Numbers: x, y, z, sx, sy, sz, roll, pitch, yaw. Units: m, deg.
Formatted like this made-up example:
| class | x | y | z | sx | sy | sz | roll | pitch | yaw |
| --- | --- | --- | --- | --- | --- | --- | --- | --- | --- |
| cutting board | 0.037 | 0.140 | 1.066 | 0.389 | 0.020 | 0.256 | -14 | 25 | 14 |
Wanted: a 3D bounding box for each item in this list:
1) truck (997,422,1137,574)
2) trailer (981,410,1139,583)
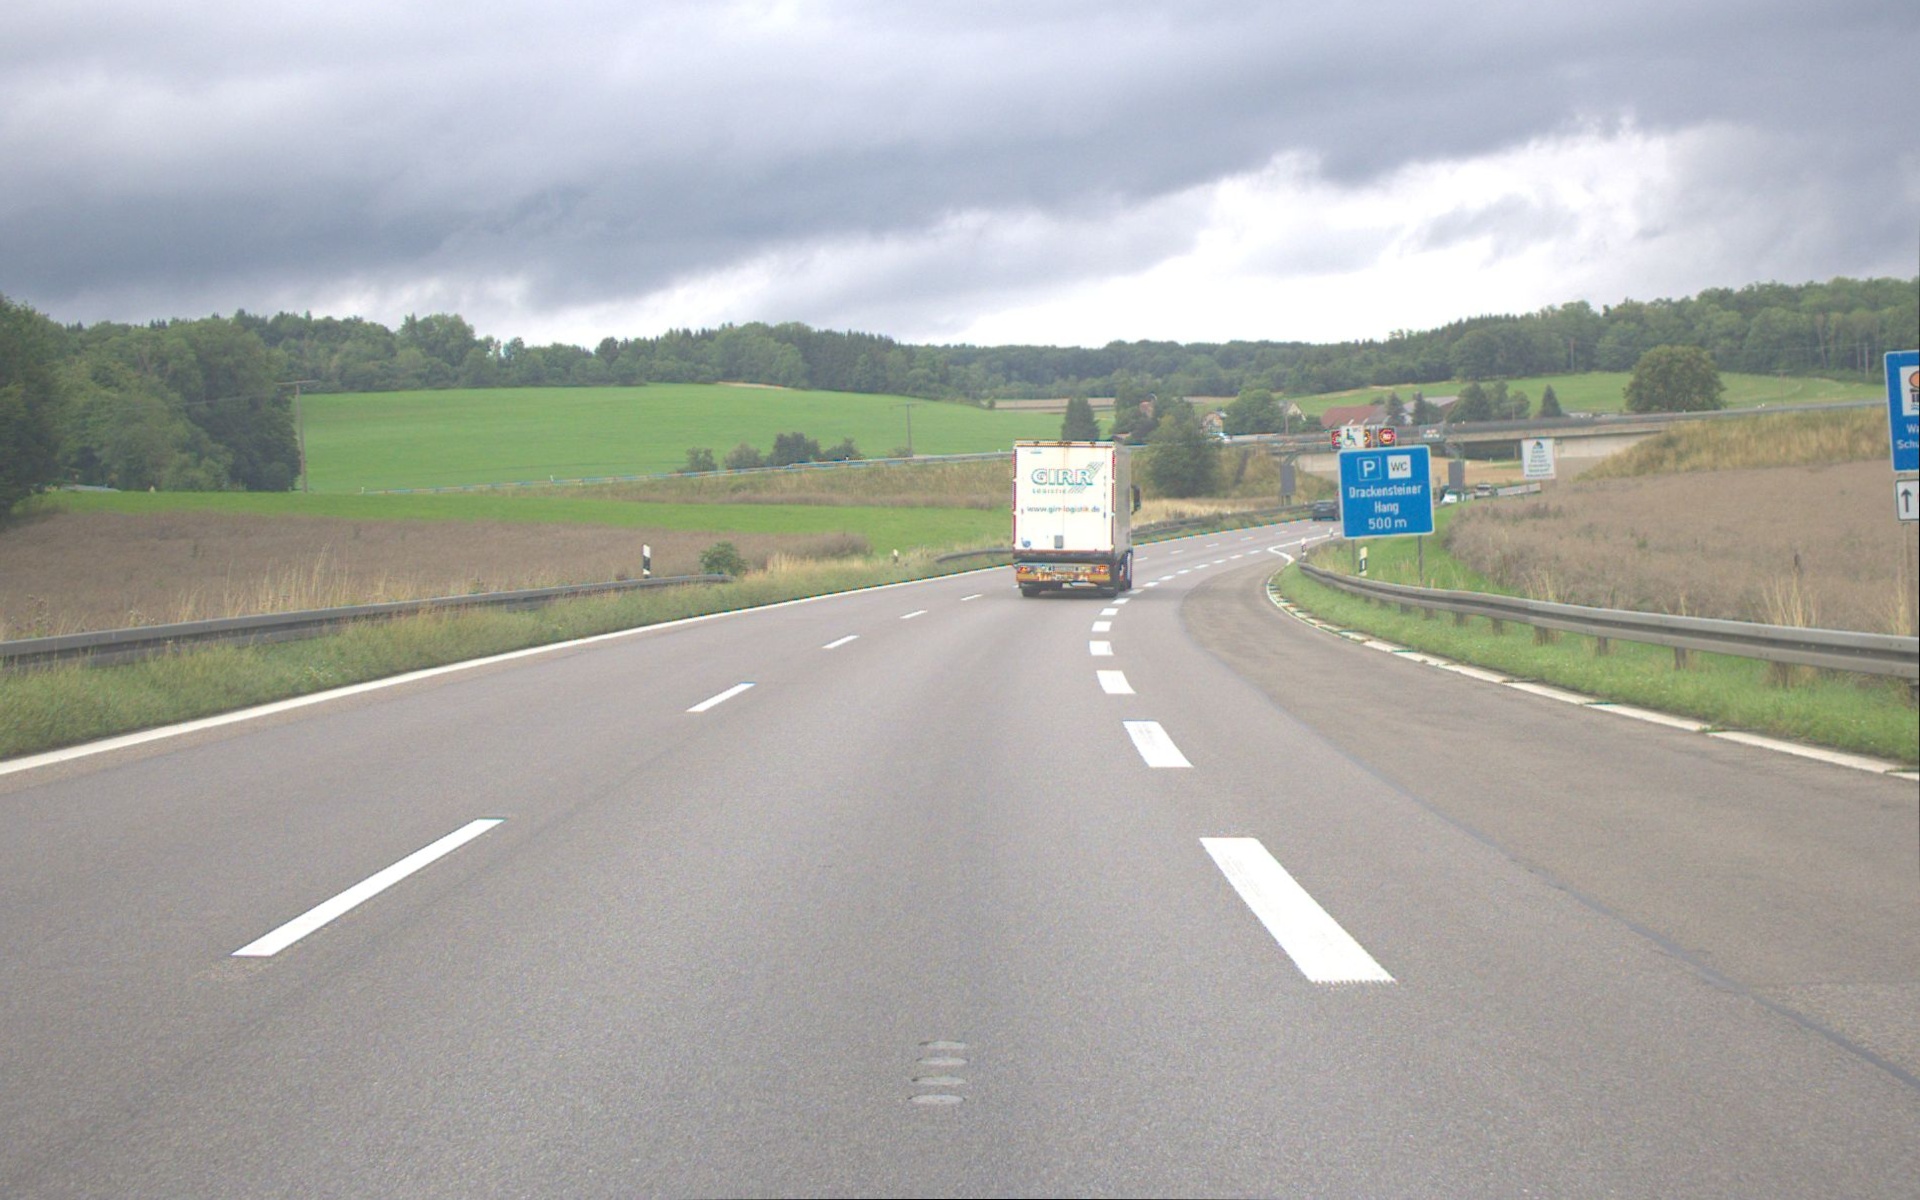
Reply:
| class | x | y | z | sx | sy | sz | roll | pitch | yaw |
| --- | --- | --- | --- | --- | --- | --- | --- | --- | --- |
| truck | 3.124 | -2.870 | 98.761 | 3.788 | 4.118 | 8.264 | -1 | 1 | 3 |
| trailer | 2.812 | -2.711 | 92.099 | 3.806 | 4.160 | 14.808 | -1 | 1 | 3 |
